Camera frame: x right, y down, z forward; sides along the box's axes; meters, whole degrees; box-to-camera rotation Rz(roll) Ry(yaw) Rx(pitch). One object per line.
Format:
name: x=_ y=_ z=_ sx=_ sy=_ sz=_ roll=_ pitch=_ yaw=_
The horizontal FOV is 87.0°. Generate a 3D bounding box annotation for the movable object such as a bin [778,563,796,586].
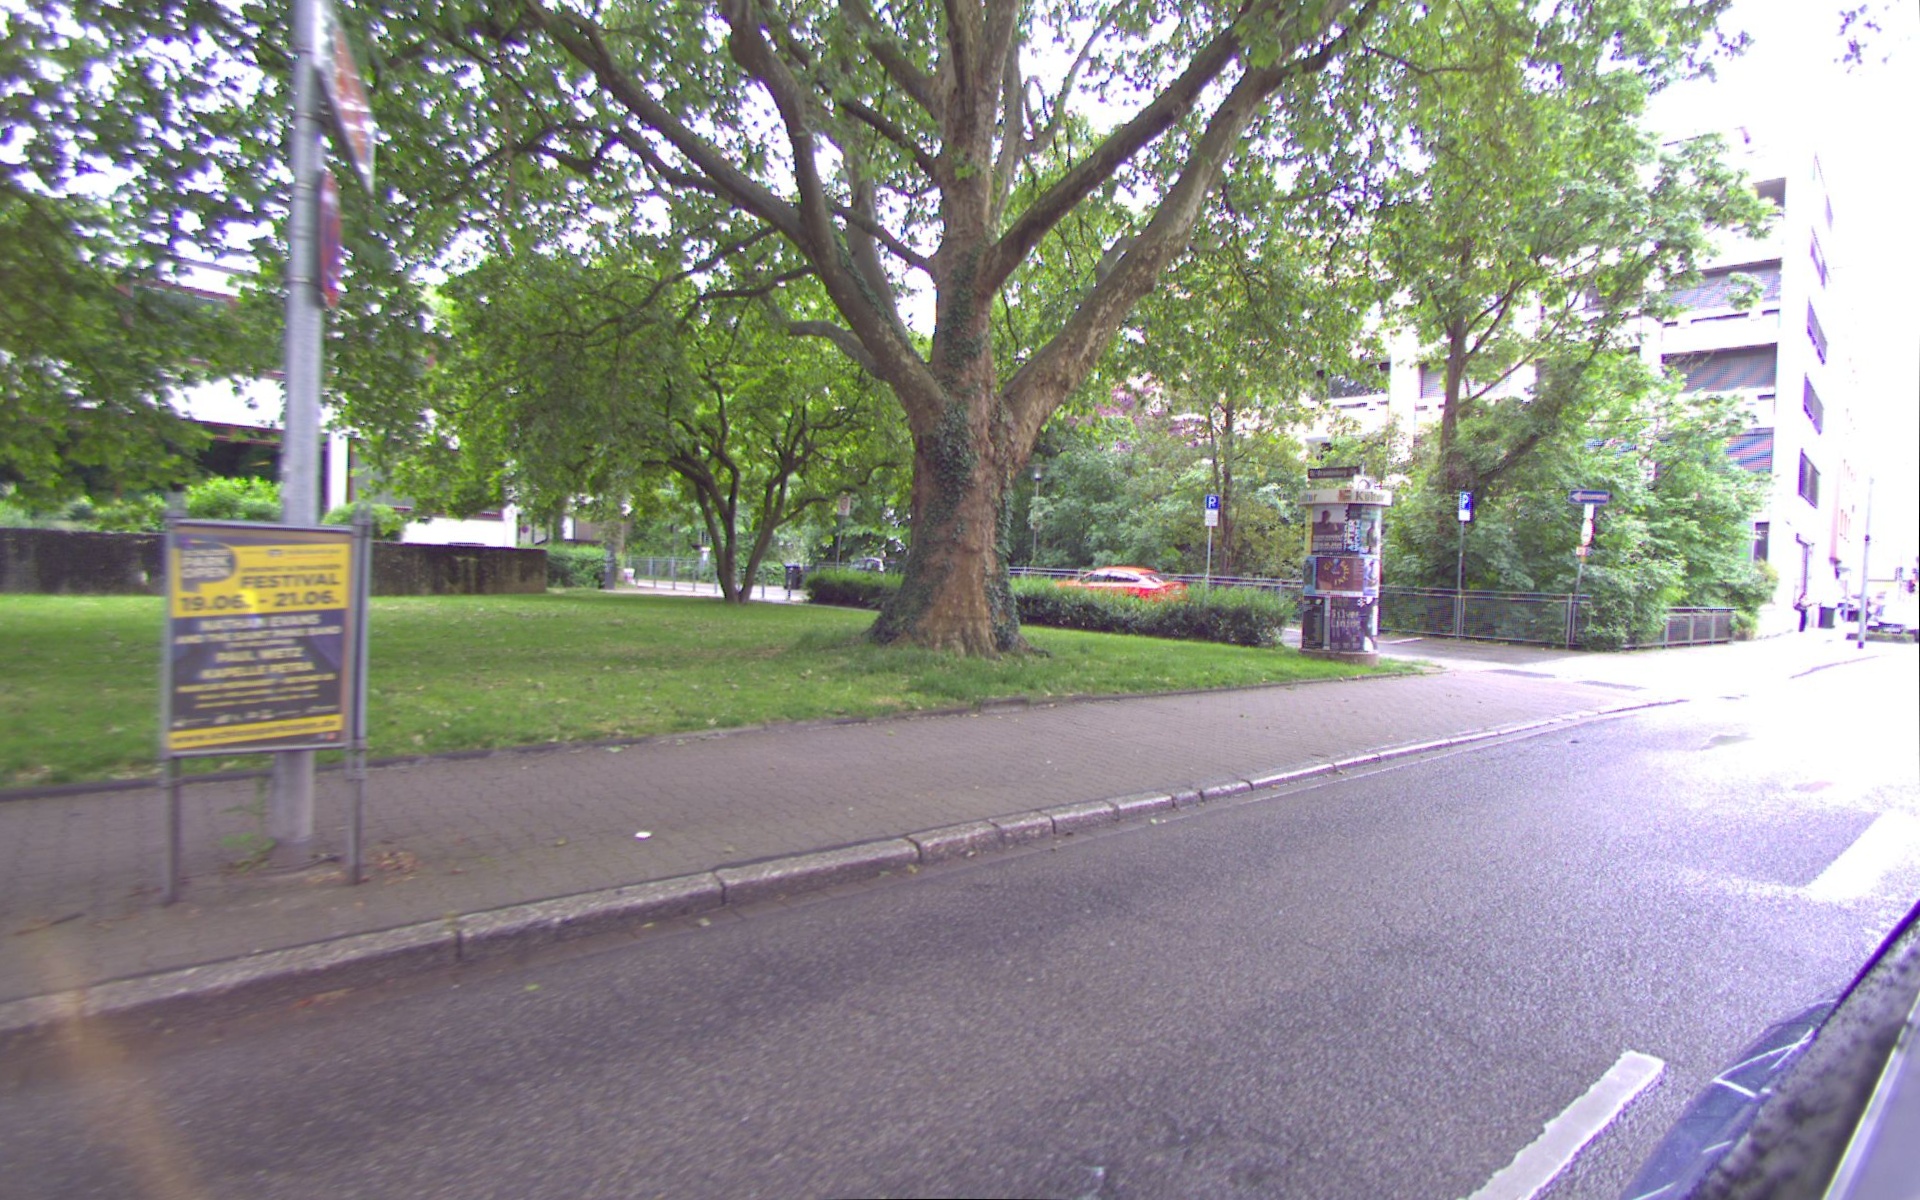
movable object such as a bin: x=-7.350 y=-1.078 z=42.996 sx=0.573 sy=0.986 sz=0.512 roll=0 pitch=0 yaw=-41

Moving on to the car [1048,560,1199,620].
car: x=4.724 y=-0.343 z=29.560 sx=3.989 sy=1.499 sz=1.847 roll=5 pitch=4 yaw=44

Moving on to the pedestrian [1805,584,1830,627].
pedestrian: x=34.627 y=0.203 z=40.863 sx=0.598 sy=1.679 sz=0.681 roll=7 pitch=4 yaw=42

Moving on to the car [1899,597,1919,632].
car: x=42.319 y=0.662 z=43.990 sx=4.493 sy=1.437 sz=1.834 roll=0 pitch=3 yaw=-43

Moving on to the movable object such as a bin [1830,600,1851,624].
movable object such as a bin: x=41.938 y=0.555 z=48.196 sx=0.505 sy=1.117 sz=0.680 roll=1 pitch=2 yaw=-42

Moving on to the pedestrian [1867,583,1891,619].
pedestrian: x=56.361 y=0.045 z=62.078 sx=0.797 sy=2.179 sz=0.732 roll=2 pitch=1 yaw=26

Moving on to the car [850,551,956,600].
car: x=-2.132 y=-0.911 z=37.100 sx=1.707 sy=1.590 sz=3.925 roll=0 pitch=3 yaw=-45

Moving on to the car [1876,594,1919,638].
car: x=37.322 y=0.607 z=39.667 sx=3.741 sy=1.577 sz=1.705 roll=0 pitch=4 yaw=-43
